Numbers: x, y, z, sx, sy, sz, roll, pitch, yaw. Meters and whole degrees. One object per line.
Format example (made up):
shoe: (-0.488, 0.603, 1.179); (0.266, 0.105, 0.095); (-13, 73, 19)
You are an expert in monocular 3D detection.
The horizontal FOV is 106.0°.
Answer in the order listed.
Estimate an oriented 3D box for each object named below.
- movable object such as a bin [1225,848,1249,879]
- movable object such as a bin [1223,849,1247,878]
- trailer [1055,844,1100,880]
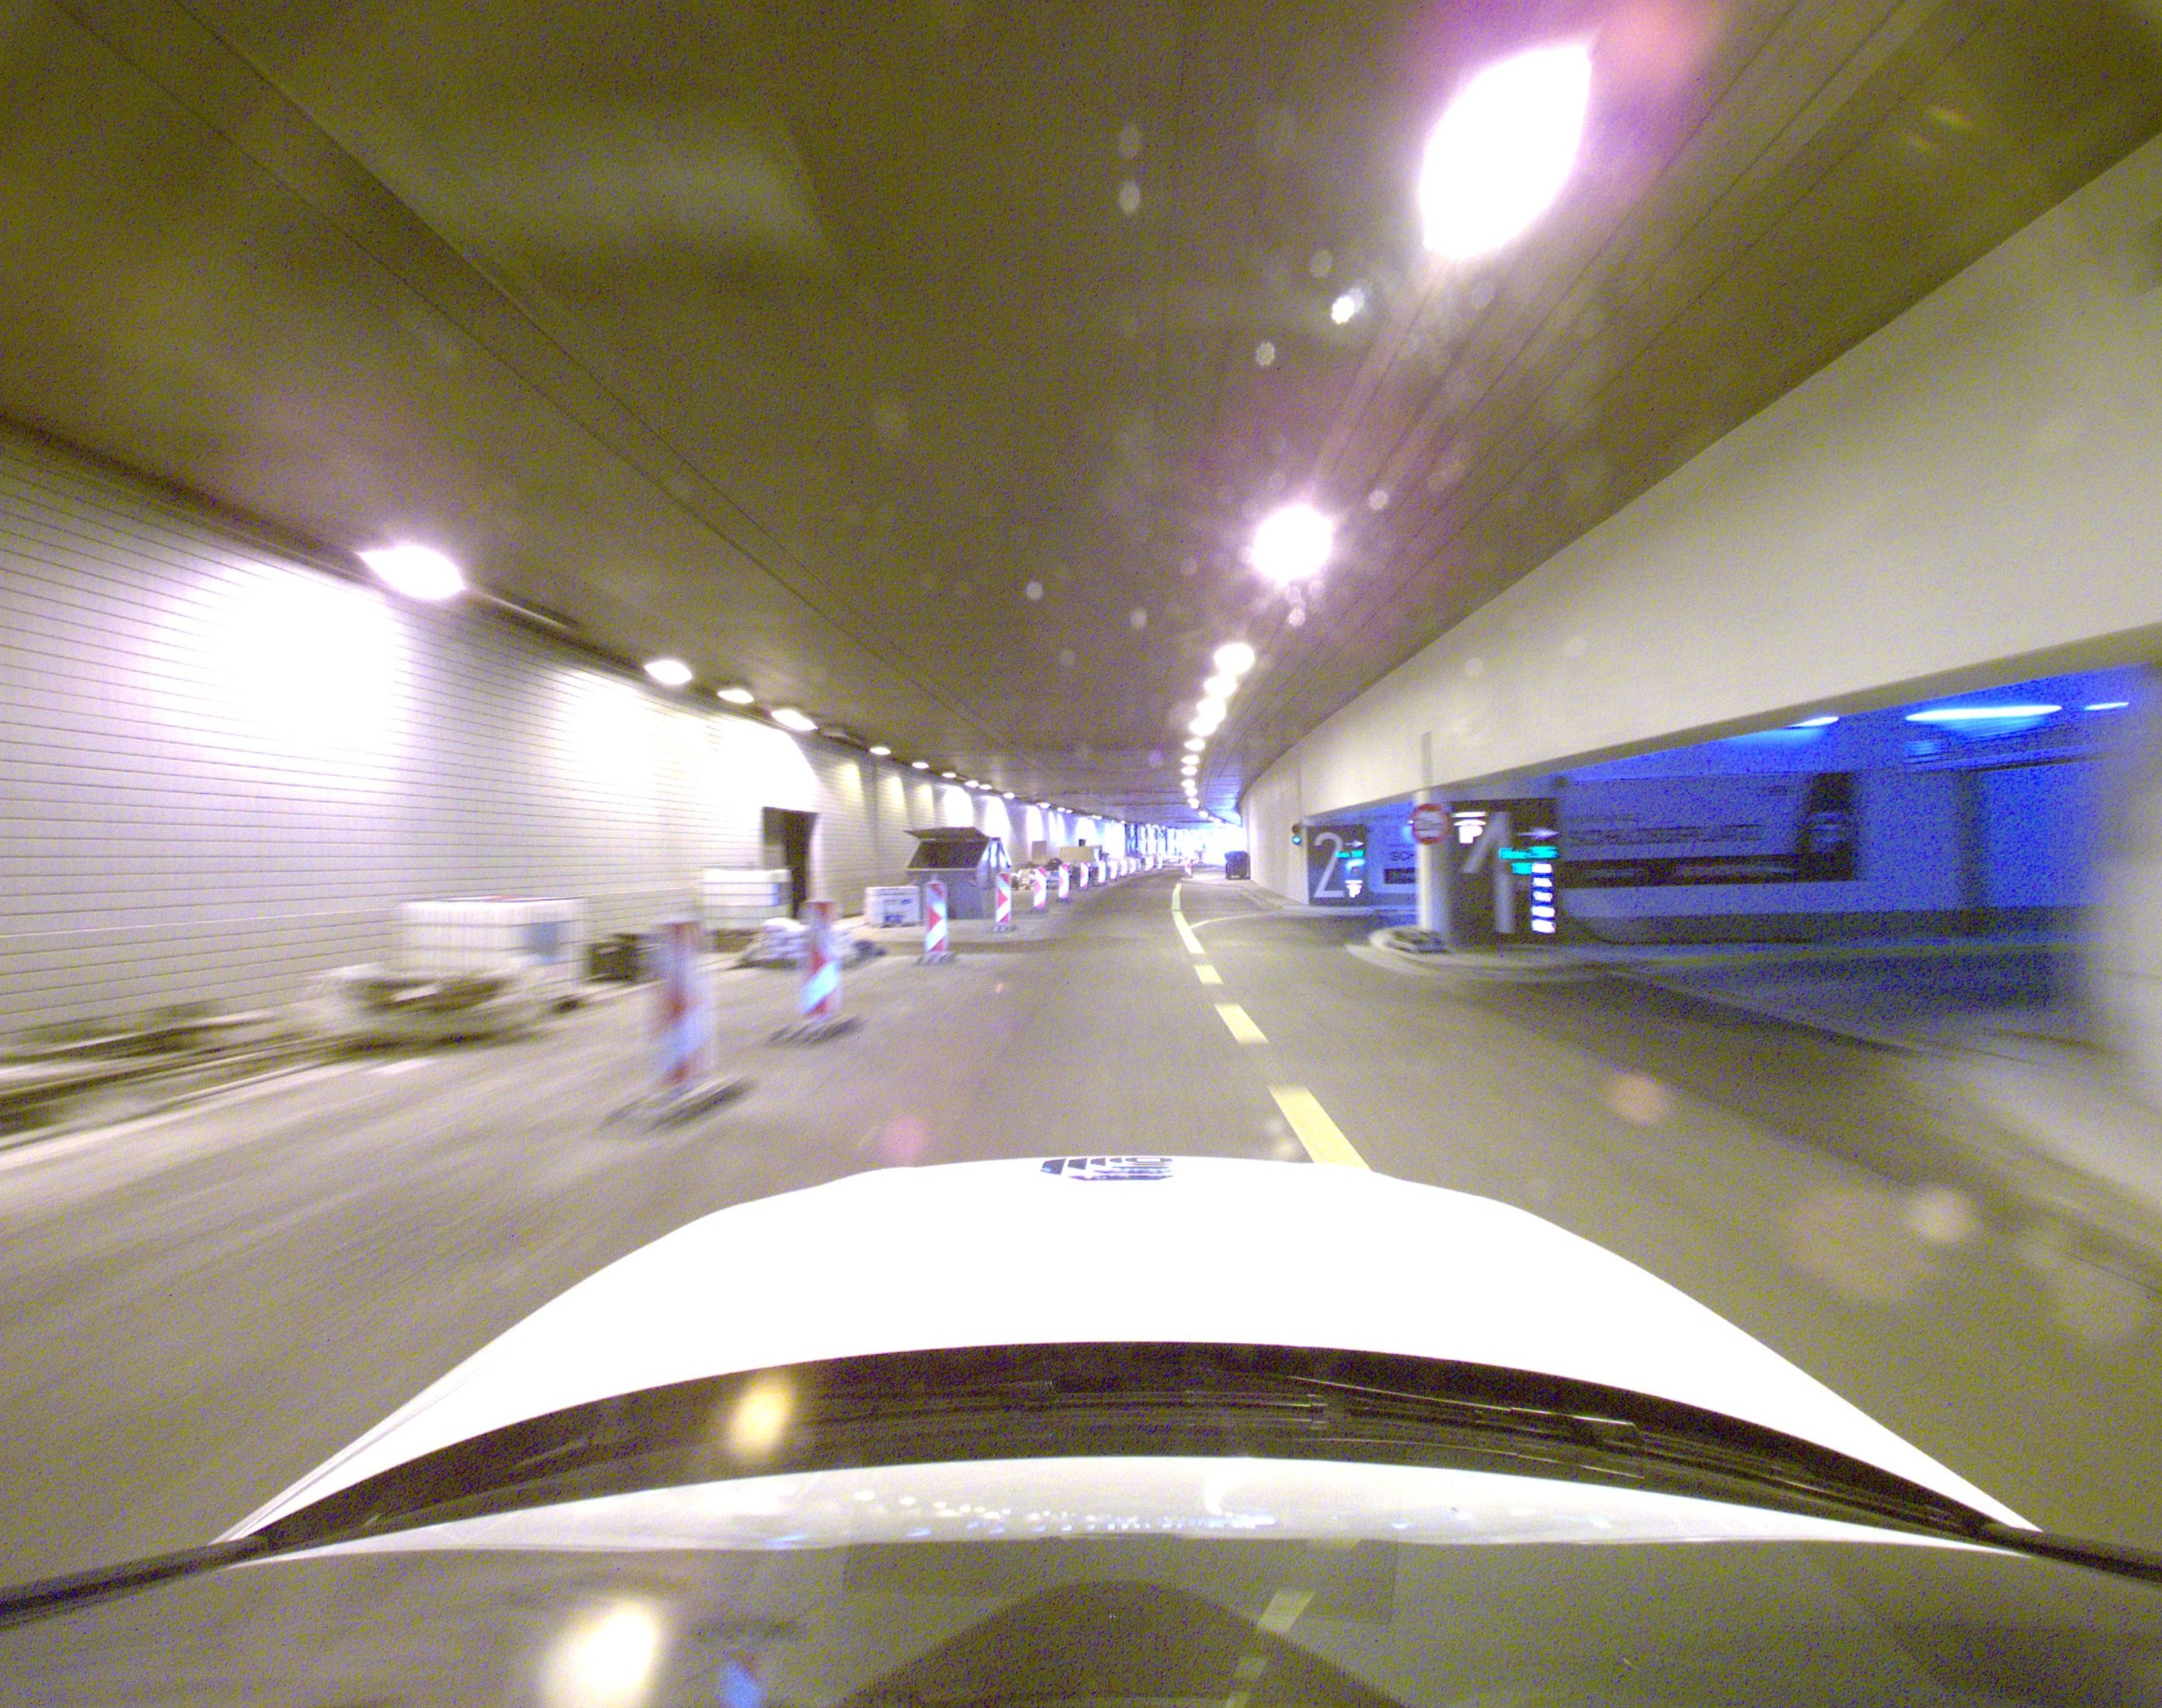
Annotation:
movable object such as a bin: (7.665, 0.468, 40.092); (1.091, 1.445, 1.325); (-1, -1, 8)
movable object such as a bin: (7.826, 0.464, 41.504); (1.139, 1.445, 1.367); (-1, -1, 8)
trailer: (-0.151, 0.450, 47.435); (2.196, 2.014, 3.473); (-1, -1, 7)
